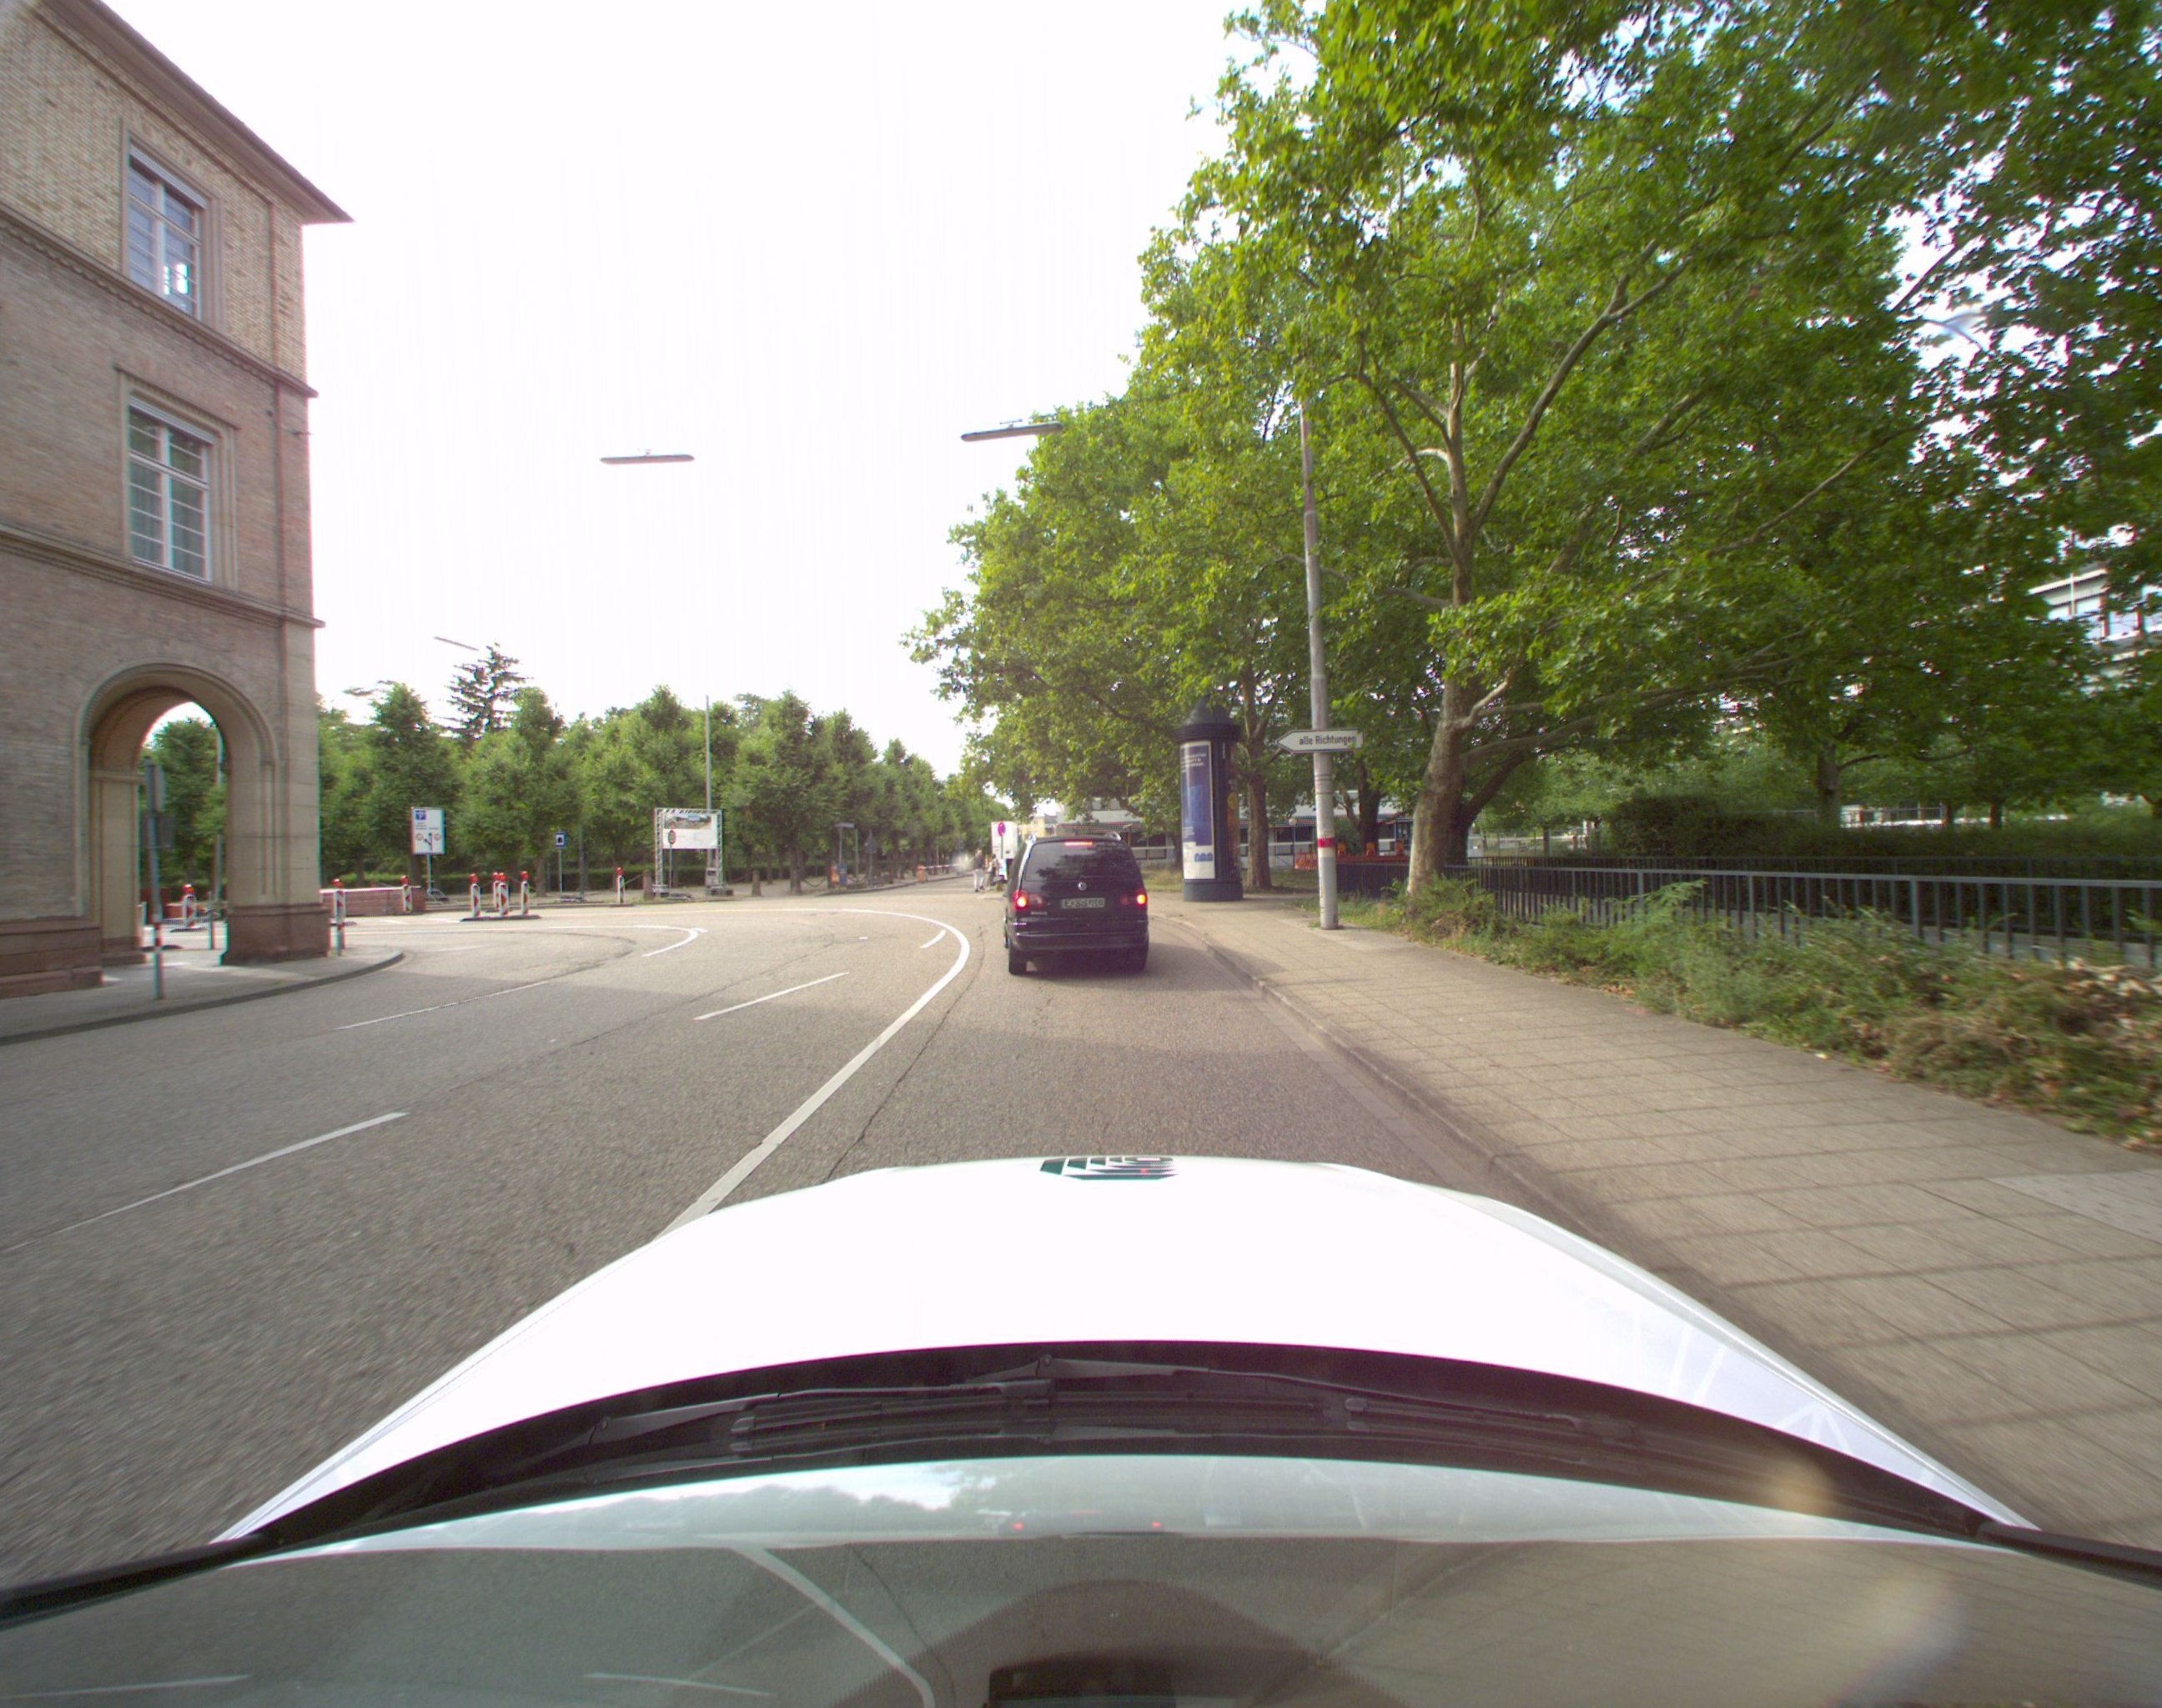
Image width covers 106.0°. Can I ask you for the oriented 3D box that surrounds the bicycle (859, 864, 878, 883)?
[{"bbox_3d":[-12.818,1.165,49.071,0.954,1.110,2.565,0,0,-17],"label":"bicycle"}]

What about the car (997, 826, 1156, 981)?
[{"bbox_3d":[-0.233,0.563,11.467,1.791,1.708,4.123,-2,0,-6],"label":"car"}]

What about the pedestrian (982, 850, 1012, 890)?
[{"bbox_3d":[-3.470,0.646,33.693,0.887,1.641,0.858,0,0,36],"label":"pedestrian"}]

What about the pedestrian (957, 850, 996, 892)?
[{"bbox_3d":[-4.354,0.691,33.954,0.951,1.741,1.264,0,0,39],"label":"pedestrian"}]
